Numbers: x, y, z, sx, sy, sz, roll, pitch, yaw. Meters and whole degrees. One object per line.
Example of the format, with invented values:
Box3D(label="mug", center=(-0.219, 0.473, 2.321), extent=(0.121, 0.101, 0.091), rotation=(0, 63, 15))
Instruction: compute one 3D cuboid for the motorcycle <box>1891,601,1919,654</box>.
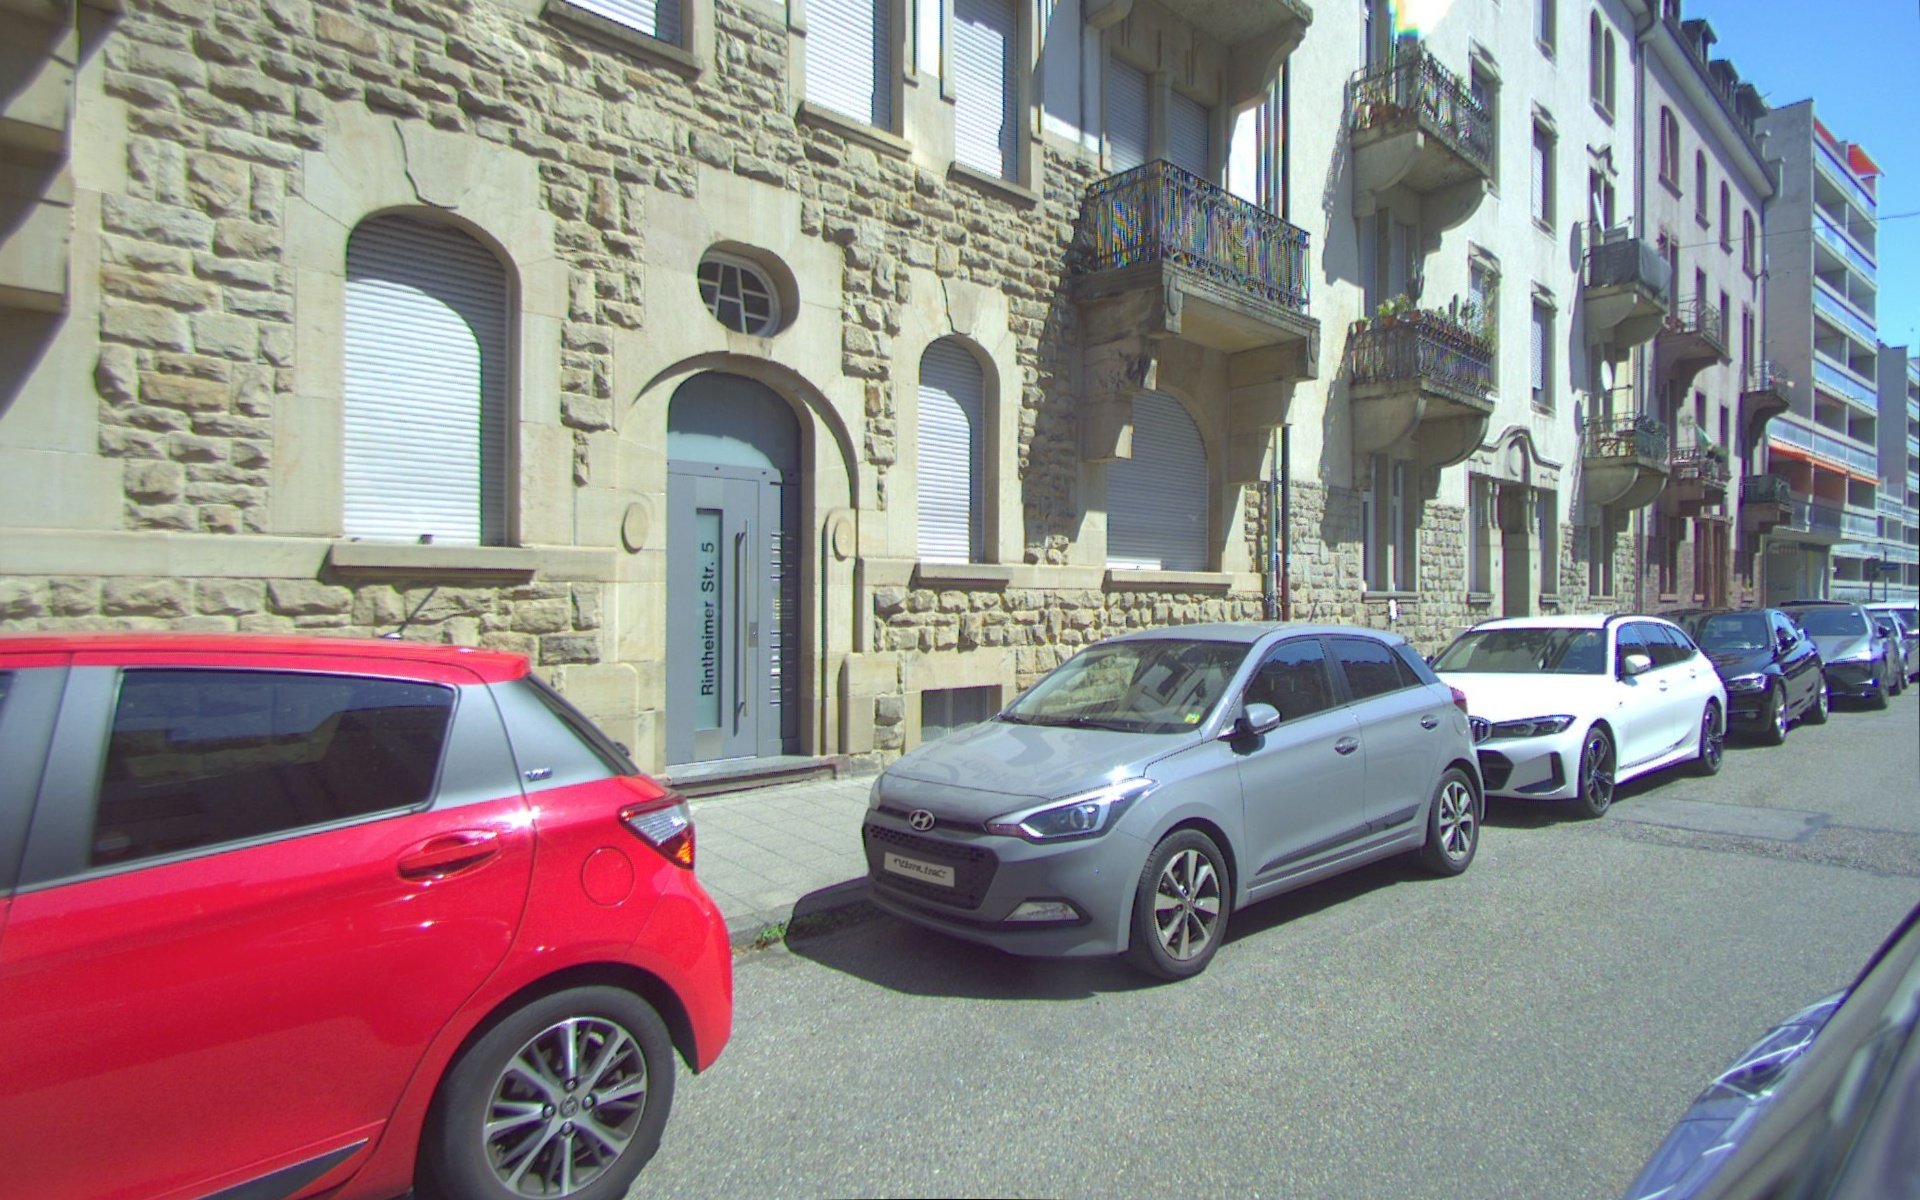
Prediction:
Box3D(label="motorcycle", center=(27.320, 0.715, 28.005), extent=(2.157, 1.448, 0.732), rotation=(-3, -2, 9))

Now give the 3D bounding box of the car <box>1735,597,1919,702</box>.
Box3D(label="car", center=(14.002, 0.682, 16.247), extent=(4.415, 1.450, 1.825), rotation=(0, 0, -44))

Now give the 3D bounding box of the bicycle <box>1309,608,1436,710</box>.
Box3D(label="bicycle", center=(5.578, 0.743, 13.617), extent=(2.088, 1.204, 0.641), rotation=(-1, 4, -41))

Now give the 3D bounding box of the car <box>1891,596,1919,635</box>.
Box3D(label="car", center=(39.336, 0.618, 41.156), extent=(3.835, 1.512, 1.752), rotation=(-1, 1, -41))

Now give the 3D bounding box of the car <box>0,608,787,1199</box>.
Box3D(label="car", center=(-2.425, 0.798, 2.205), extent=(3.777, 1.471, 1.572), rotation=(-1, -2, -42))

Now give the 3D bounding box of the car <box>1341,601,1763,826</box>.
Box3D(label="car", center=(5.384, 0.789, 8.937), extent=(4.515, 1.471, 1.719), rotation=(-1, -1, -39))

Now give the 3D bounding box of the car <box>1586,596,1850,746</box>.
Box3D(label="car", center=(9.485, 0.720, 12.518), extent=(4.588, 1.476, 1.739), rotation=(-1, 1, -42))

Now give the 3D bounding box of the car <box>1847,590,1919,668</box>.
Box3D(label="car", center=(21.905, 0.609, 23.154), extent=(4.016, 1.642, 1.653), rotation=(-1, 1, -37))

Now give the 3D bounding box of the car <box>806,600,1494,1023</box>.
Box3D(label="car", center=(1.225, 0.776, 5.459), extent=(3.788, 1.471, 1.592), rotation=(-1, -1, -40))

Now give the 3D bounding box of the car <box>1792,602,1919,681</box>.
Box3D(label="car", center=(18.060, 0.736, 20.032), extent=(4.276, 1.375, 1.789), rotation=(0, 1, -41))

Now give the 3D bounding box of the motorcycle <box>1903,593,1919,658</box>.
Box3D(label="motorcycle", center=(25.371, 0.604, 25.524), extent=(2.157, 1.643, 0.764), rotation=(-3, -2, 9))
